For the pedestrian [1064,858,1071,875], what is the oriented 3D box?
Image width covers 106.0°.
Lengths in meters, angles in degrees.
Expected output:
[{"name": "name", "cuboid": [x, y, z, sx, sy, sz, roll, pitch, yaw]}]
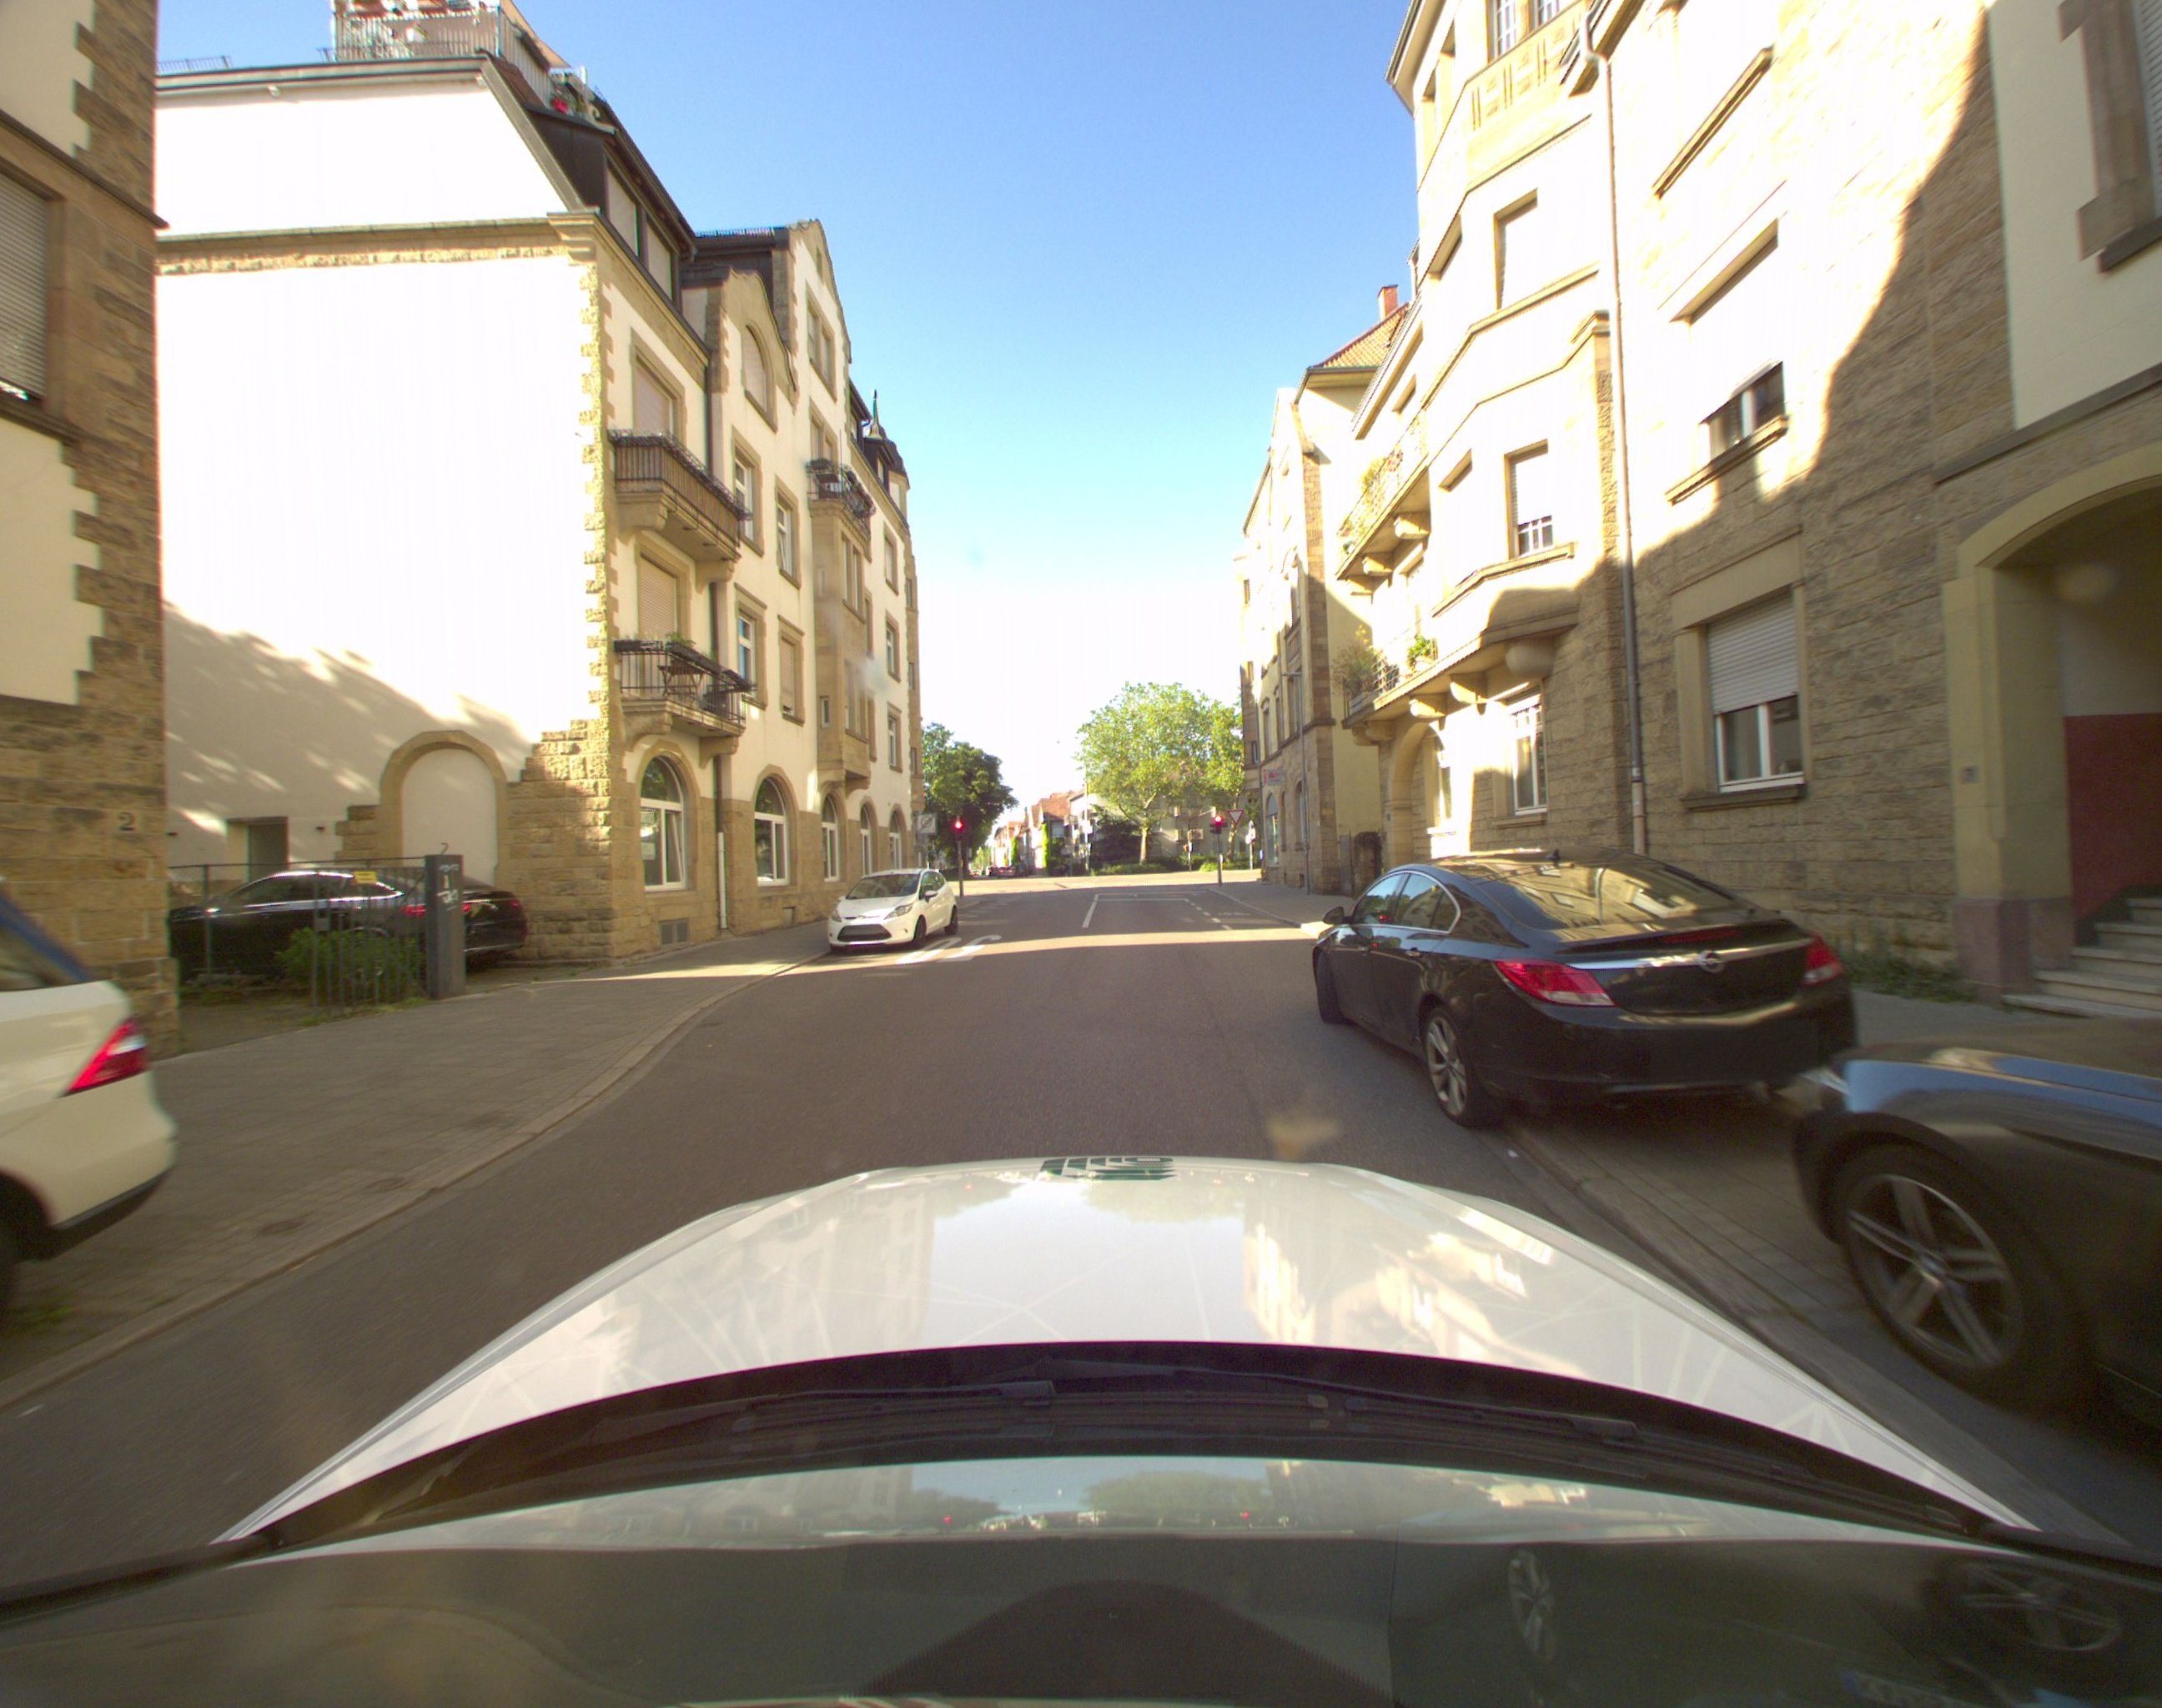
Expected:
[{"name": "pedestrian", "cuboid": [-1.392, 1.326, 84.328, 0.631, 1.750, 0.659, -1, -1, 0]}]

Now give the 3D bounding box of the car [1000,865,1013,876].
[{"name": "car", "cuboid": [-10.458, 2.325, 114.450, 1.672, 1.483, 3.514, -1, -1, -6]}]

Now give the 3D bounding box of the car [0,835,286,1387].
[{"name": "car", "cuboid": [-4.390, 0.808, 1.077, 1.884, 1.722, 4.729, 0, 0, 3]}]

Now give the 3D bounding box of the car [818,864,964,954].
[{"name": "car", "cuboid": [-3.566, 0.978, 15.979, 1.626, 1.464, 3.740, -2, 0, 5]}]

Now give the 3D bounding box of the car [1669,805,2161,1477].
[{"name": "car", "cuboid": [3.095, 0.583, 1.051, 1.645, 1.442, 4.260, -3, 0, 2]}]

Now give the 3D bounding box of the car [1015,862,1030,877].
[{"name": "car", "cuboid": [-8.582, 2.208, 119.341, 1.991, 2.013, 3.992, -3, 0, -6]}]

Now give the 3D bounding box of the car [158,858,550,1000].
[{"name": "car", "cuboid": [-10.410, 1.015, 11.906, 3.954, 1.728, 1.910, -3, 0, 1]}]

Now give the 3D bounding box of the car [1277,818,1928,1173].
[{"name": "car", "cuboid": [2.789, 0.620, 5.723, 1.858, 1.462, 4.341, -3, 0, 2]}]

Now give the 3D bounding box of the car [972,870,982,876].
[{"name": "car", "cuboid": [-25.021, 4.514, 195.487, 1.994, 1.445, 3.986, -3, 0, -10]}]

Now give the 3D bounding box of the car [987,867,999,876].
[{"name": "car", "cuboid": [-14.926, 2.994, 138.335, 1.738, 1.336, 3.821, -2, 0, -9]}]
